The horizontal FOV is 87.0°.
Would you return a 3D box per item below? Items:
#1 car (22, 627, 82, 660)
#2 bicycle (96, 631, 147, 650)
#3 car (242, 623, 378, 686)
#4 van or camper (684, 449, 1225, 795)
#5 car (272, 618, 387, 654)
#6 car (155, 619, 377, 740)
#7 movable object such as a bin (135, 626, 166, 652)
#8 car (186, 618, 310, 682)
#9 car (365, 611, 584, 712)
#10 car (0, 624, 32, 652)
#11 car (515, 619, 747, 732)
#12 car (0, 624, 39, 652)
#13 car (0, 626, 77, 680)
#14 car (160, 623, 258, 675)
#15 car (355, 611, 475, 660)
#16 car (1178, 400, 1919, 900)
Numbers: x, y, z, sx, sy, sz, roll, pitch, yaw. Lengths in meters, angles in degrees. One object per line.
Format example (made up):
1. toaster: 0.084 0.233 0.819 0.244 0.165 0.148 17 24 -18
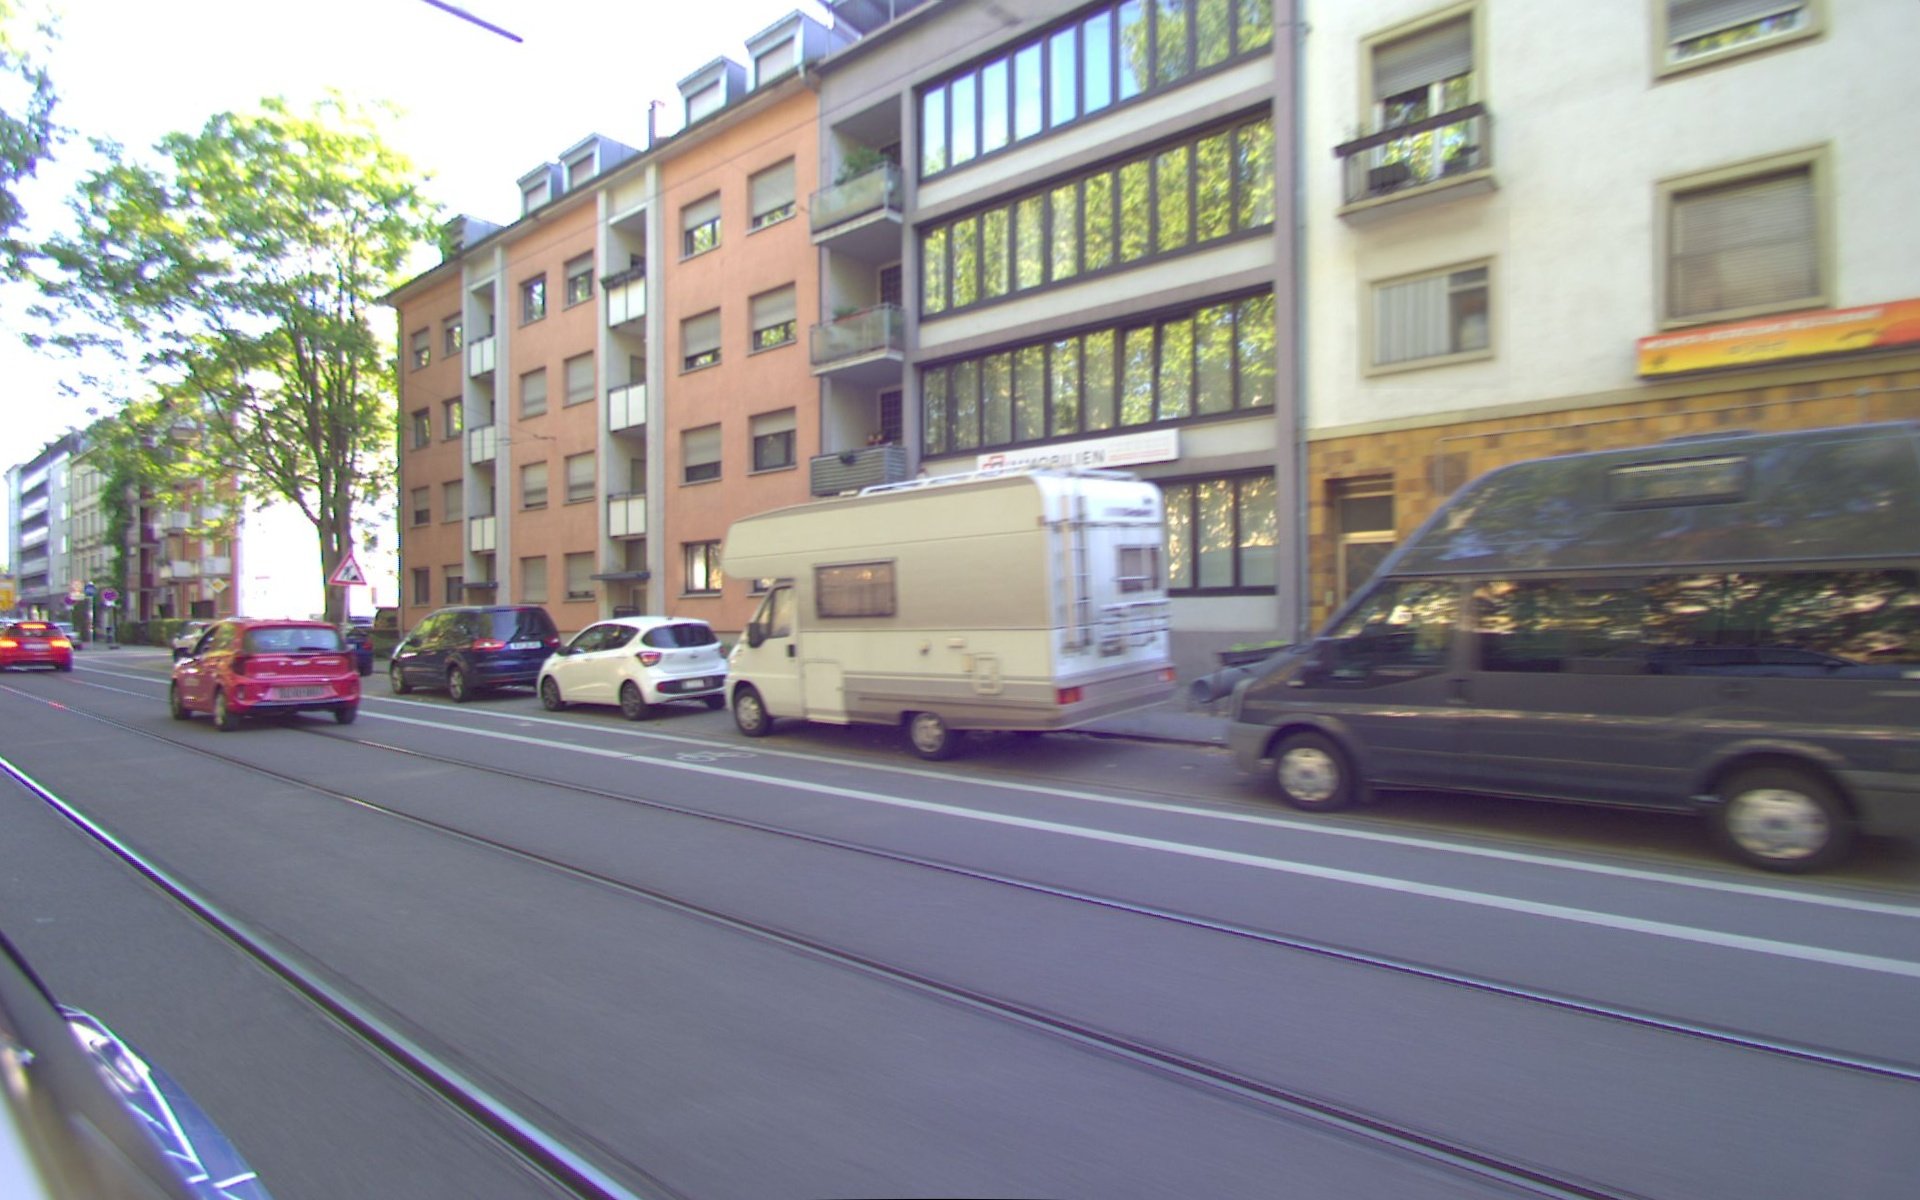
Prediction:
1. car: -46.331 2.197 51.602 3.927 1.494 1.708 -1 1 40
2. bicycle: -53.530 2.578 64.630 0.698 1.070 2.428 -2 0 37
3. car: -16.989 1.370 26.383 4.379 1.411 1.721 -2 1 40
4. van or camper: -0.393 0.204 11.956 6.395 3.063 2.313 -1 2 42
5. car: -31.157 1.748 50.120 1.937 1.618 4.486 0 0 41
6. car: -9.962 1.036 14.423 3.948 1.490 1.646 -1 -2 41
7. movable object such as a bin: -43.884 2.110 54.844 0.747 1.375 1.198 -2 -2 42
8. car: -20.779 1.402 29.471 4.584 1.622 1.763 -2 1 40
9. car: -9.593 1.115 19.800 5.066 1.699 1.933 -2 0 40
10. car: -61.719 2.425 65.412 4.877 1.661 1.933 -1 0 40
11. car: -5.331 1.120 16.194 3.858 1.499 1.693 -1 1 40
12. car: -57.671 2.312 61.889 3.780 1.583 1.609 -1 0 42
13. car: -27.147 1.483 29.382 4.066 1.448 1.705 -1 -1 41
14. car: -24.755 1.562 33.325 4.088 1.489 1.787 -1 1 42
15. car: -24.743 1.613 46.002 4.675 2.139 1.992 -1 0 13
16. car: 4.545 0.274 7.507 5.305 2.752 2.066 -2 1 40
